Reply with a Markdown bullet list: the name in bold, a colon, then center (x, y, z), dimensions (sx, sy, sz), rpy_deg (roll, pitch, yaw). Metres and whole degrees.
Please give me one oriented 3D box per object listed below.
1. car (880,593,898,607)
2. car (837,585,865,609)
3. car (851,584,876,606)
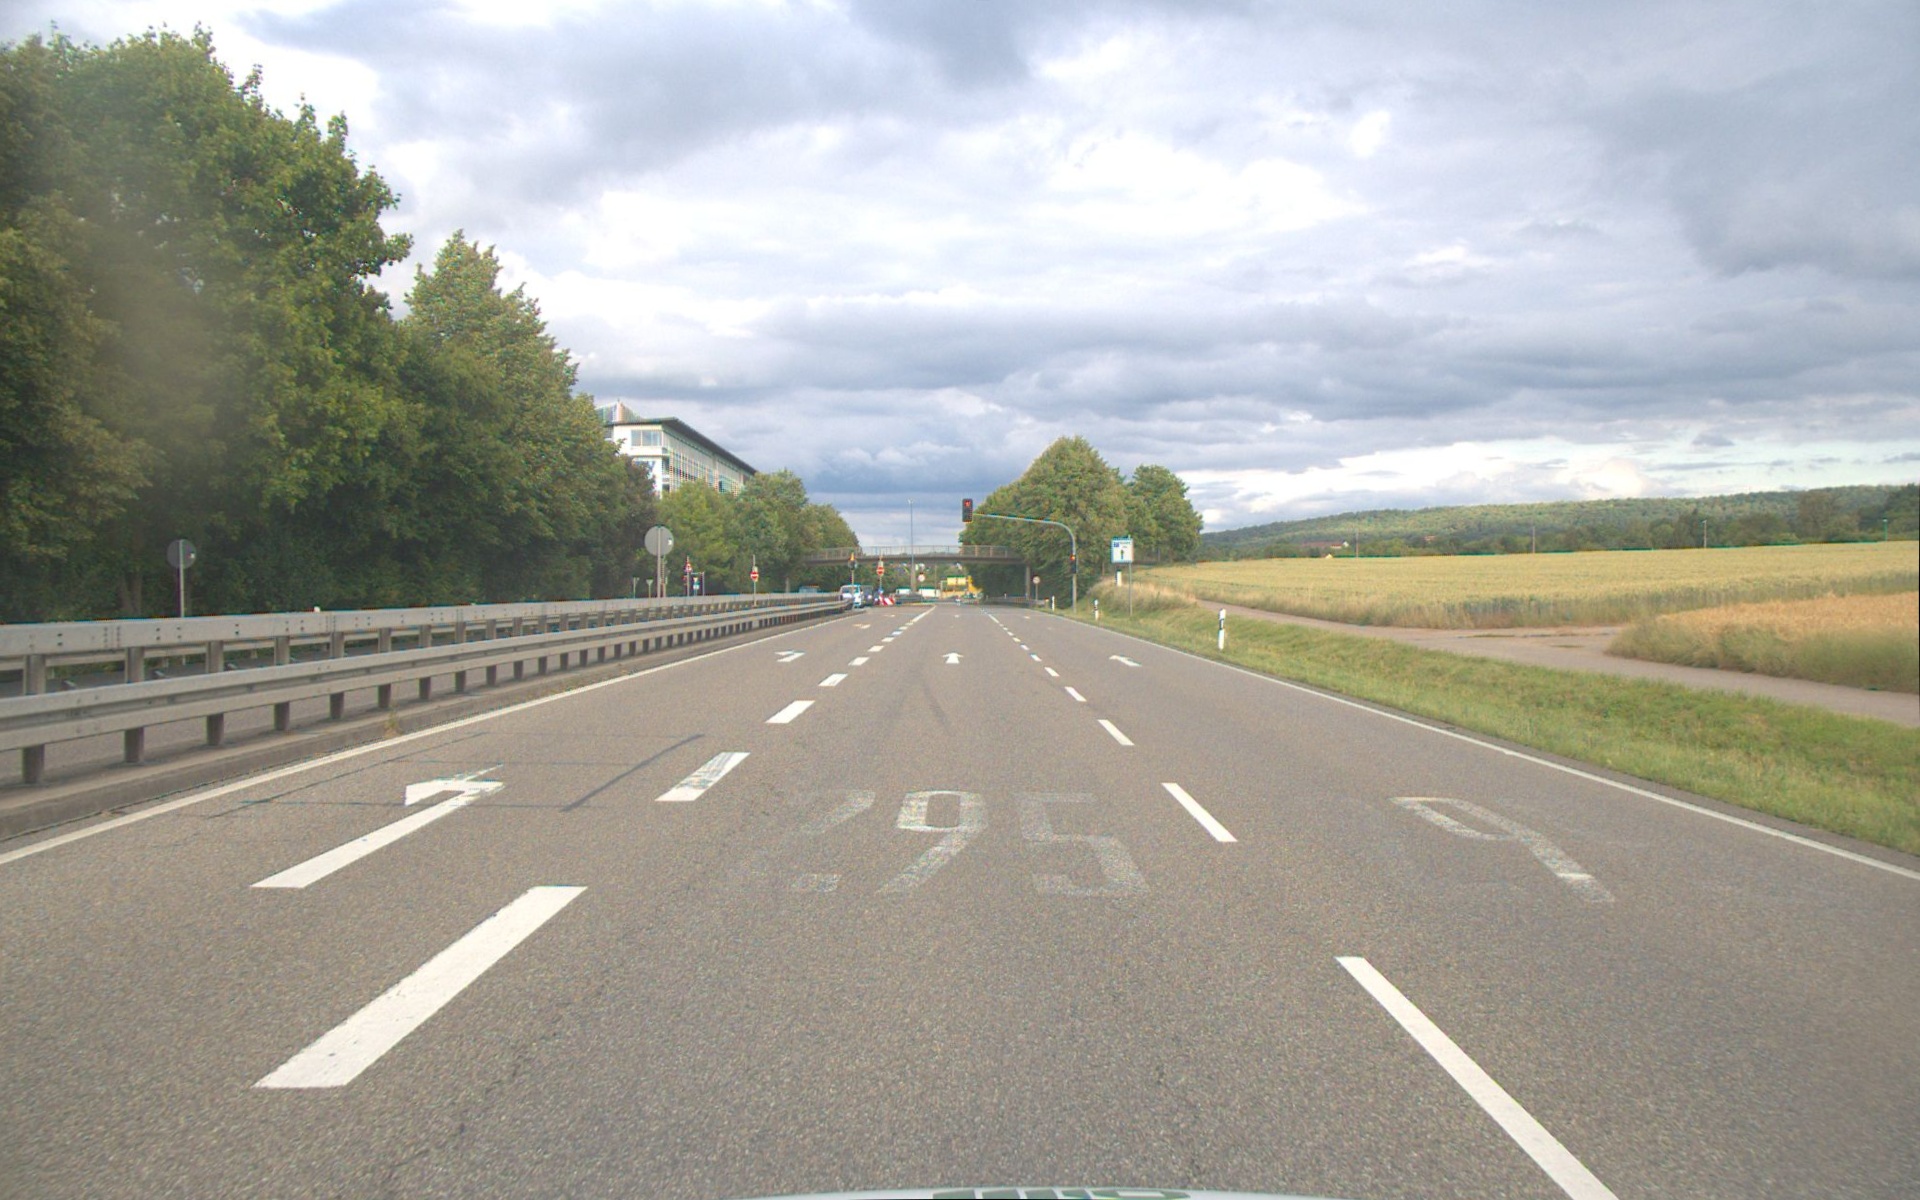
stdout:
- **car**: center (-5.720, 0.006, 133.542), dimensions (1.330, 1.111, 2.922), rpy_deg (0, 1, 1)
- **car**: center (-8.922, -0.252, 135.526), dimensions (1.908, 1.906, 4.736), rpy_deg (0, 1, 0)
- **car**: center (-8.667, -0.445, 148.772), dimensions (1.953, 1.906, 4.736), rpy_deg (0, 1, 0)
